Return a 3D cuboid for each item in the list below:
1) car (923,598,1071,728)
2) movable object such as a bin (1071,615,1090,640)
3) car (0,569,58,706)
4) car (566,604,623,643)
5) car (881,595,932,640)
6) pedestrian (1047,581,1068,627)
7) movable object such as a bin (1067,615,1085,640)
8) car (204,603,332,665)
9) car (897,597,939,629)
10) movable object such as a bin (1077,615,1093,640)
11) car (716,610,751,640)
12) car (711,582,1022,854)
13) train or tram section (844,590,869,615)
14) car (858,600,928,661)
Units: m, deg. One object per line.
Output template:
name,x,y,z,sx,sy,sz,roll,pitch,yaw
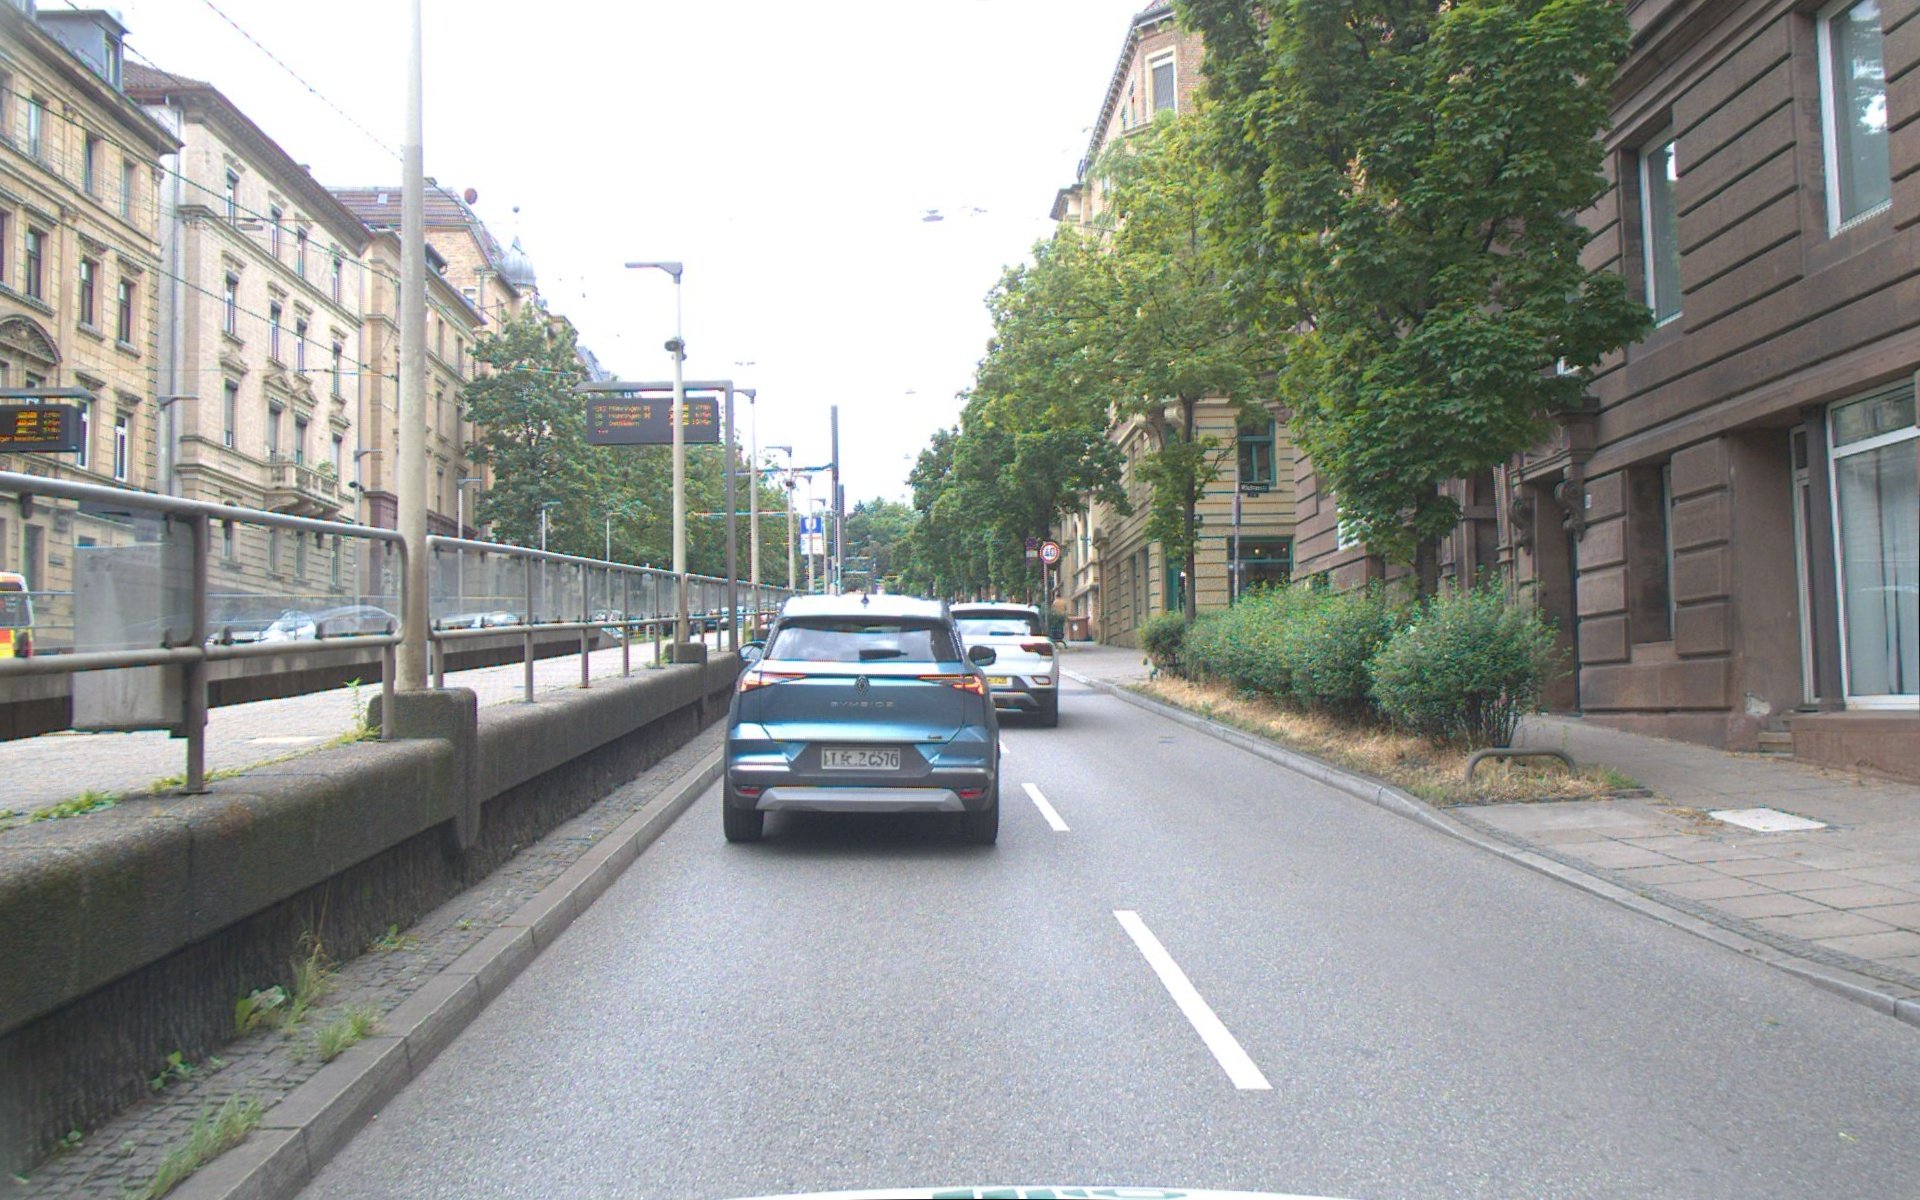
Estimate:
car,0.472,0.795,22.470,1.798,1.574,4.193,1,-1,0
movable object such as a bin,4.676,1.063,64.090,0.498,0.935,0.485,-2,-1,-44
car,-17.337,0.656,27.388,1.953,2.345,5.453,-1,0,-2
car,-17.317,1.081,78.551,1.897,1.709,3.998,-2,0,-2
car,-1.952,0.662,60.922,1.798,1.574,4.192,1,-1,-2
pedestrian,3.986,0.178,67.605,0.672,1.861,1.121,-2,-1,-2
movable object such as a bin,4.533,1.062,64.675,0.599,0.935,0.493,-3,-1,0
car,-17.880,0.842,42.927,1.732,1.496,4.258,0,0,-3
car,-2.106,0.669,84.568,2.026,1.574,4.193,1,-1,0
movable object such as a bin,4.801,1.061,63.440,0.489,0.935,0.444,-1,0,17
car,-14.239,1.544,104.104,1.674,1.766,4.575,-1,0,-2
car,-0.605,0.716,11.795,1.798,1.574,4.192,1,-1,-2
train or tram section,-14.786,0.351,237.672,2.935,3.407,13.434,-1,-1,-1
car,-1.790,0.810,45.011,1.798,1.574,4.192,1,-1,-2
